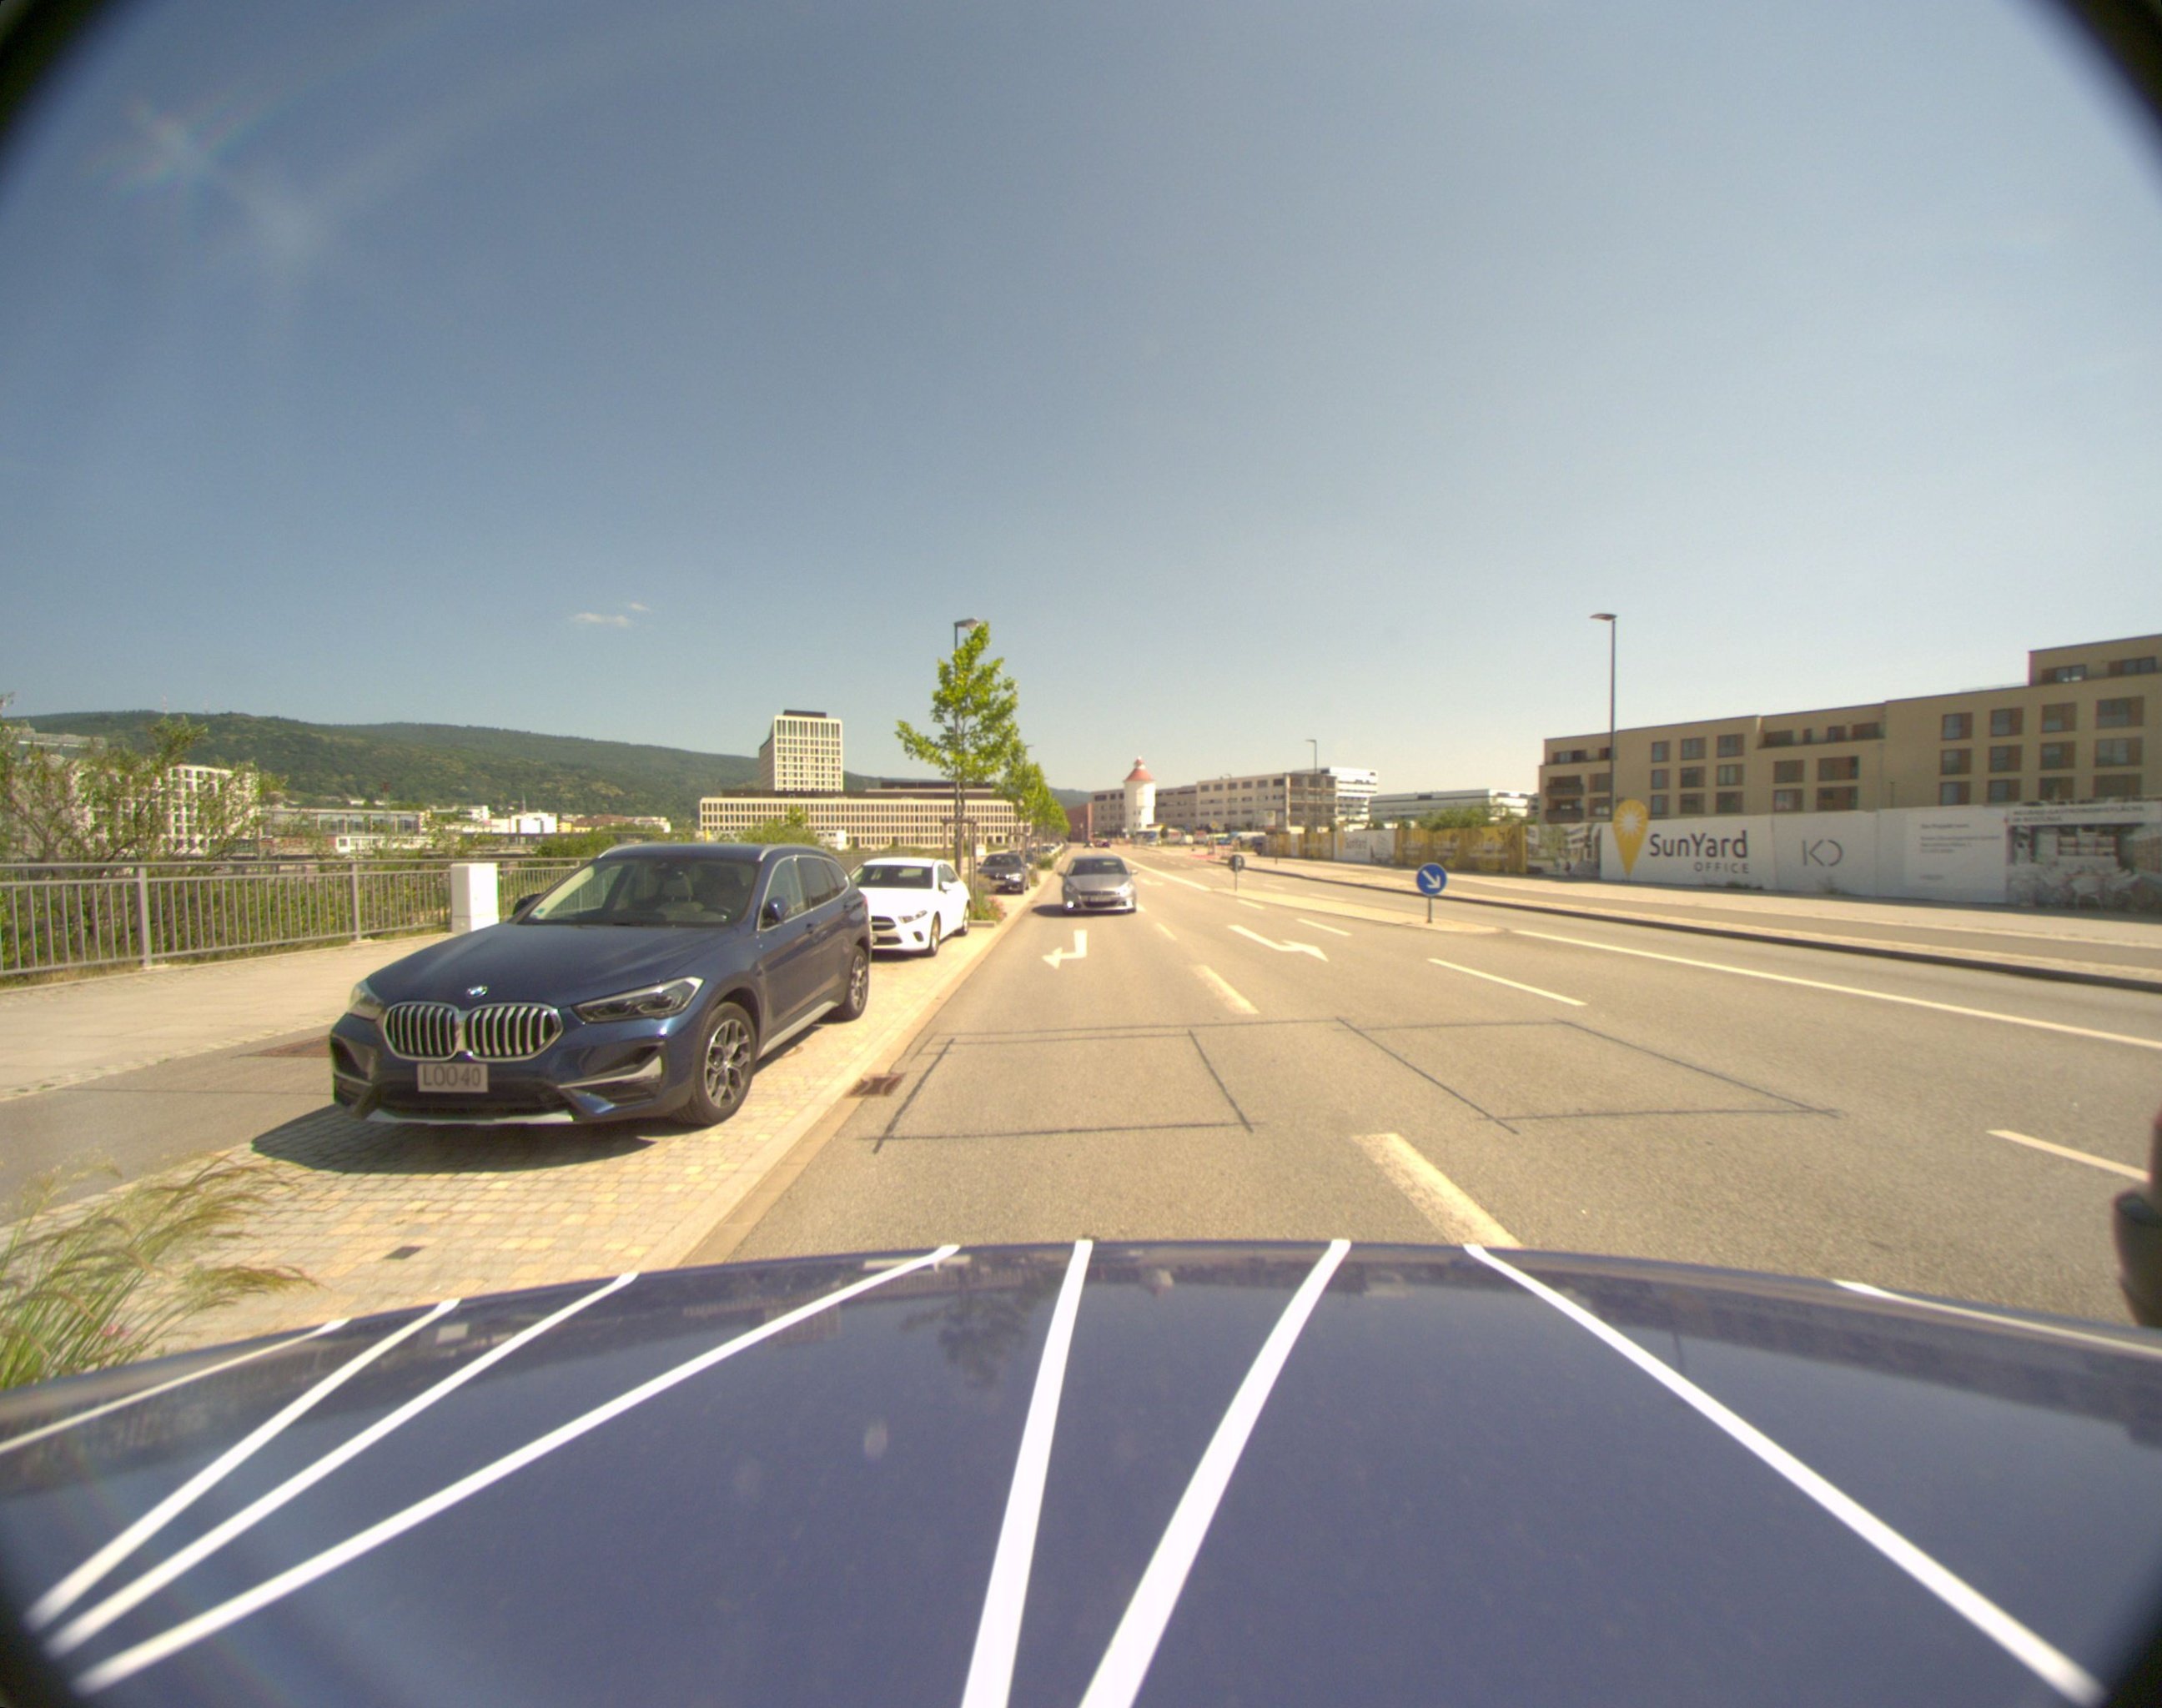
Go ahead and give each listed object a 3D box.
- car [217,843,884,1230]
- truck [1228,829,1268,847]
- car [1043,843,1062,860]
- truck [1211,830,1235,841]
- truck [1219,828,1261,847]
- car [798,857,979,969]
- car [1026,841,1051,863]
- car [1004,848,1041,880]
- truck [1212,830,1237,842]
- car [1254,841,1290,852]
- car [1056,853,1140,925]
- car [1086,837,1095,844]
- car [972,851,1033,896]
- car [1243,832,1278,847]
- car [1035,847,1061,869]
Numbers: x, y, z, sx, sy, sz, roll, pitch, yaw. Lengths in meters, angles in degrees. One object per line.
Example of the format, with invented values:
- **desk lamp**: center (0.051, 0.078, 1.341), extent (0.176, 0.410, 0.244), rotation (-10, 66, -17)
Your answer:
- **car**: center (-2.895, 0.785, 5.496), extent (1.808, 1.674, 4.270), rotation (1, 1, 0)
- **truck**: center (23.304, -2.243, 106.008), extent (5.005, 2.215, 1.999), rotation (-2, 1, -1)
- **car**: center (-2.642, -0.273, 70.648), extent (1.526, 1.482, 3.504), rotation (-3, 1, 0)
- **truck**: center (34.597, -4.570, 185.346), extent (5.412, 2.461, 1.999), rotation (-2, 1, -2)
- **truck**: center (23.669, -2.444, 113.327), extent (5.633, 2.461, 1.999), rotation (-3, 1, -4)
- **car**: center (-2.908, 0.815, 12.479), extent (1.710, 1.366, 4.270), rotation (2, 1, 2)
- **car**: center (-3.377, -0.175, 61.044), extent (1.768, 1.609, 3.373), rotation (-3, 1, 0)
- **car**: center (-2.908, 0.486, 37.942), extent (1.569, 1.465, 3.006), rotation (2, 1, 0)
- **truck**: center (33.380, -4.159, 177.306), extent (5.333, 2.461, 1.999), rotation (-3, 1, -4)
- **car**: center (19.596, -0.797, 78.121), extent (3.359, 0.947, 1.293), rotation (-2, 1, 3)
- **car**: center (0.413, 0.780, 19.216), extent (1.820, 1.459, 4.346), rotation (-2, 1, 1)
- **car**: center (2.162, -2.950, 166.967), extent (1.819, 1.458, 4.347), rotation (-3, 1, 2)
- **car**: center (-2.792, 0.641, 27.786), extent (1.808, 1.424, 3.915), rotation (2, 1, 0)
- **car**: center (22.859, -1.859, 96.665), extent (3.930, 1.708, 1.891), rotation (-3, 1, -5)
- **car**: center (-2.175, 0.235, 50.687), extent (1.490, 1.302, 3.154), rotation (2, 1, 0)
